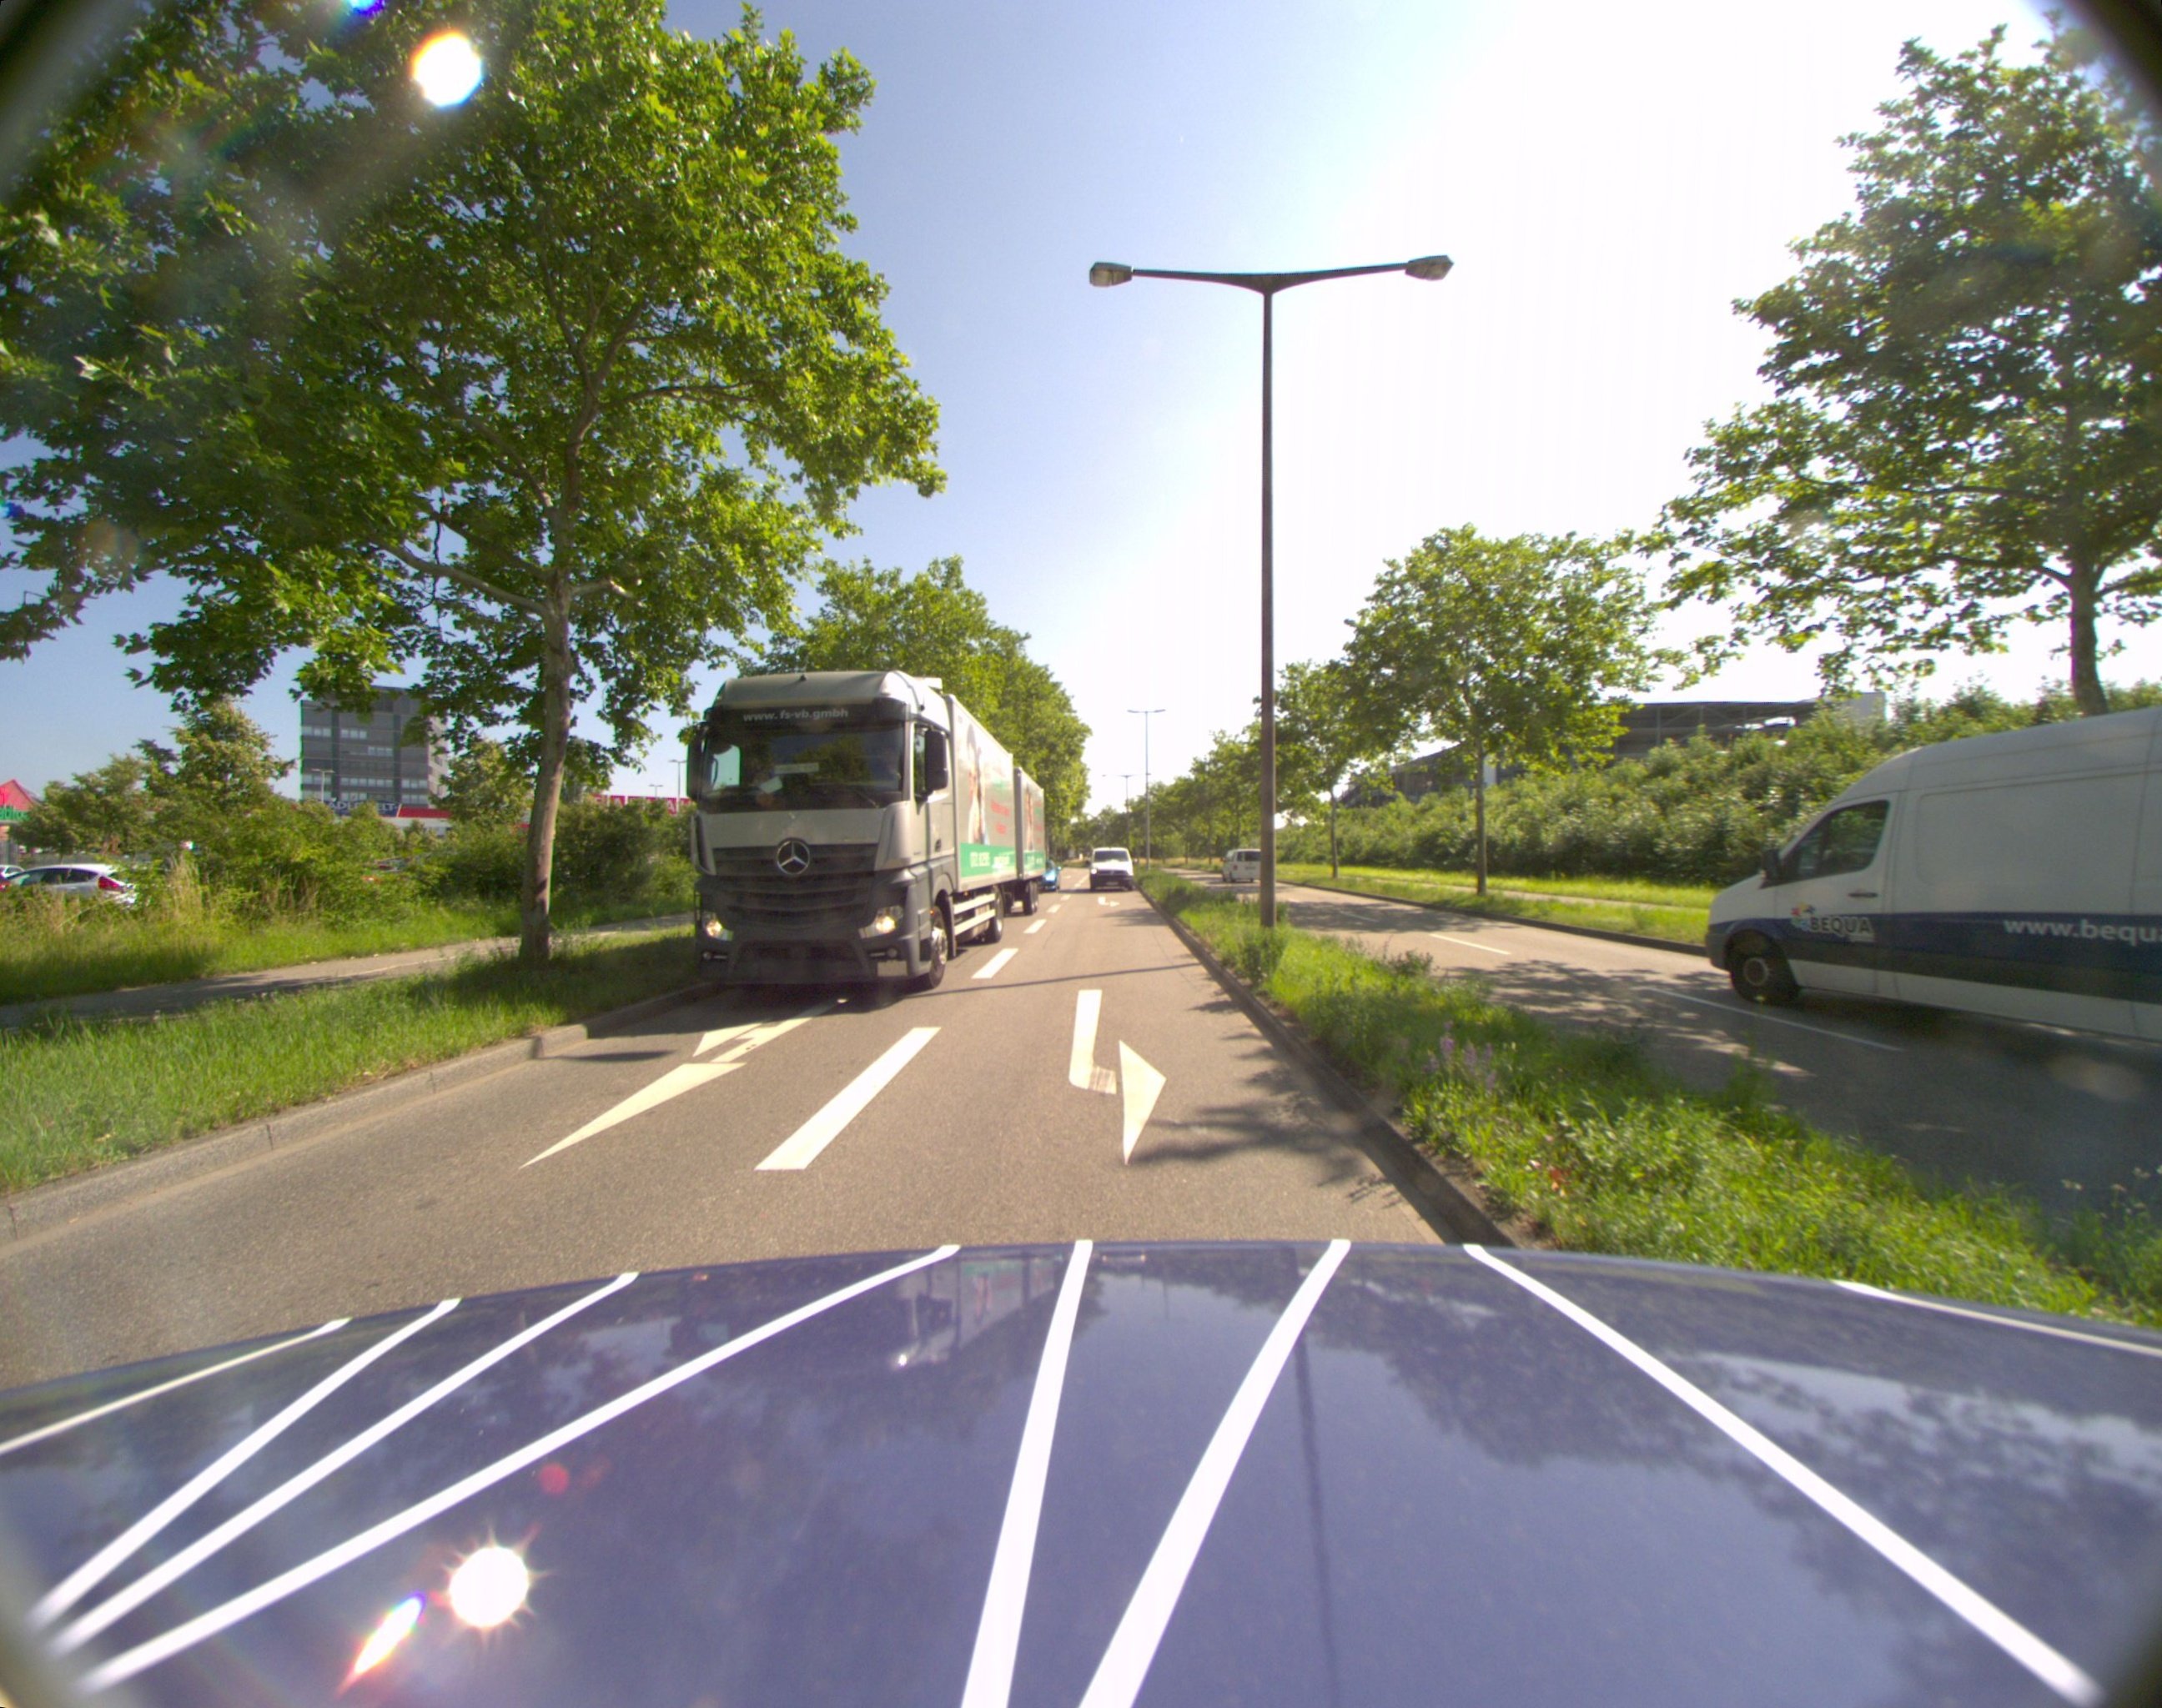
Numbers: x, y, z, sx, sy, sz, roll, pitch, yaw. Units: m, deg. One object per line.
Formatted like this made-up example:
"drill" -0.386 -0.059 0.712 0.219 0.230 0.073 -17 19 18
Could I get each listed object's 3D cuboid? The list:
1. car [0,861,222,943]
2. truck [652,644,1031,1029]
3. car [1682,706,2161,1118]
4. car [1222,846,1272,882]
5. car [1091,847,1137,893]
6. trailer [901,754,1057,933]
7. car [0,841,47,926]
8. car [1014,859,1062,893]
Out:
"car" -22.148 1.045 16.748 4.083 1.582 1.880 -2 1 -2
"truck" -2.724 -0.205 12.069 2.735 3.867 8.723 -1 1 3
"car" 7.965 0.372 5.912 1.998 2.647 5.786 1 0 1
"car" 9.426 0.546 43.577 1.998 1.887 4.575 1 0 3
"car" 1.397 0.657 33.913 1.872 1.889 4.881 0 0 1
"trailer" -2.333 -0.265 20.309 2.743 3.854 7.736 -1 1 3
"car" -22.171 0.624 13.755 4.083 1.582 1.880 -2 1 -2
"car" -1.904 0.958 34.471 1.872 1.412 4.130 0 0 1
